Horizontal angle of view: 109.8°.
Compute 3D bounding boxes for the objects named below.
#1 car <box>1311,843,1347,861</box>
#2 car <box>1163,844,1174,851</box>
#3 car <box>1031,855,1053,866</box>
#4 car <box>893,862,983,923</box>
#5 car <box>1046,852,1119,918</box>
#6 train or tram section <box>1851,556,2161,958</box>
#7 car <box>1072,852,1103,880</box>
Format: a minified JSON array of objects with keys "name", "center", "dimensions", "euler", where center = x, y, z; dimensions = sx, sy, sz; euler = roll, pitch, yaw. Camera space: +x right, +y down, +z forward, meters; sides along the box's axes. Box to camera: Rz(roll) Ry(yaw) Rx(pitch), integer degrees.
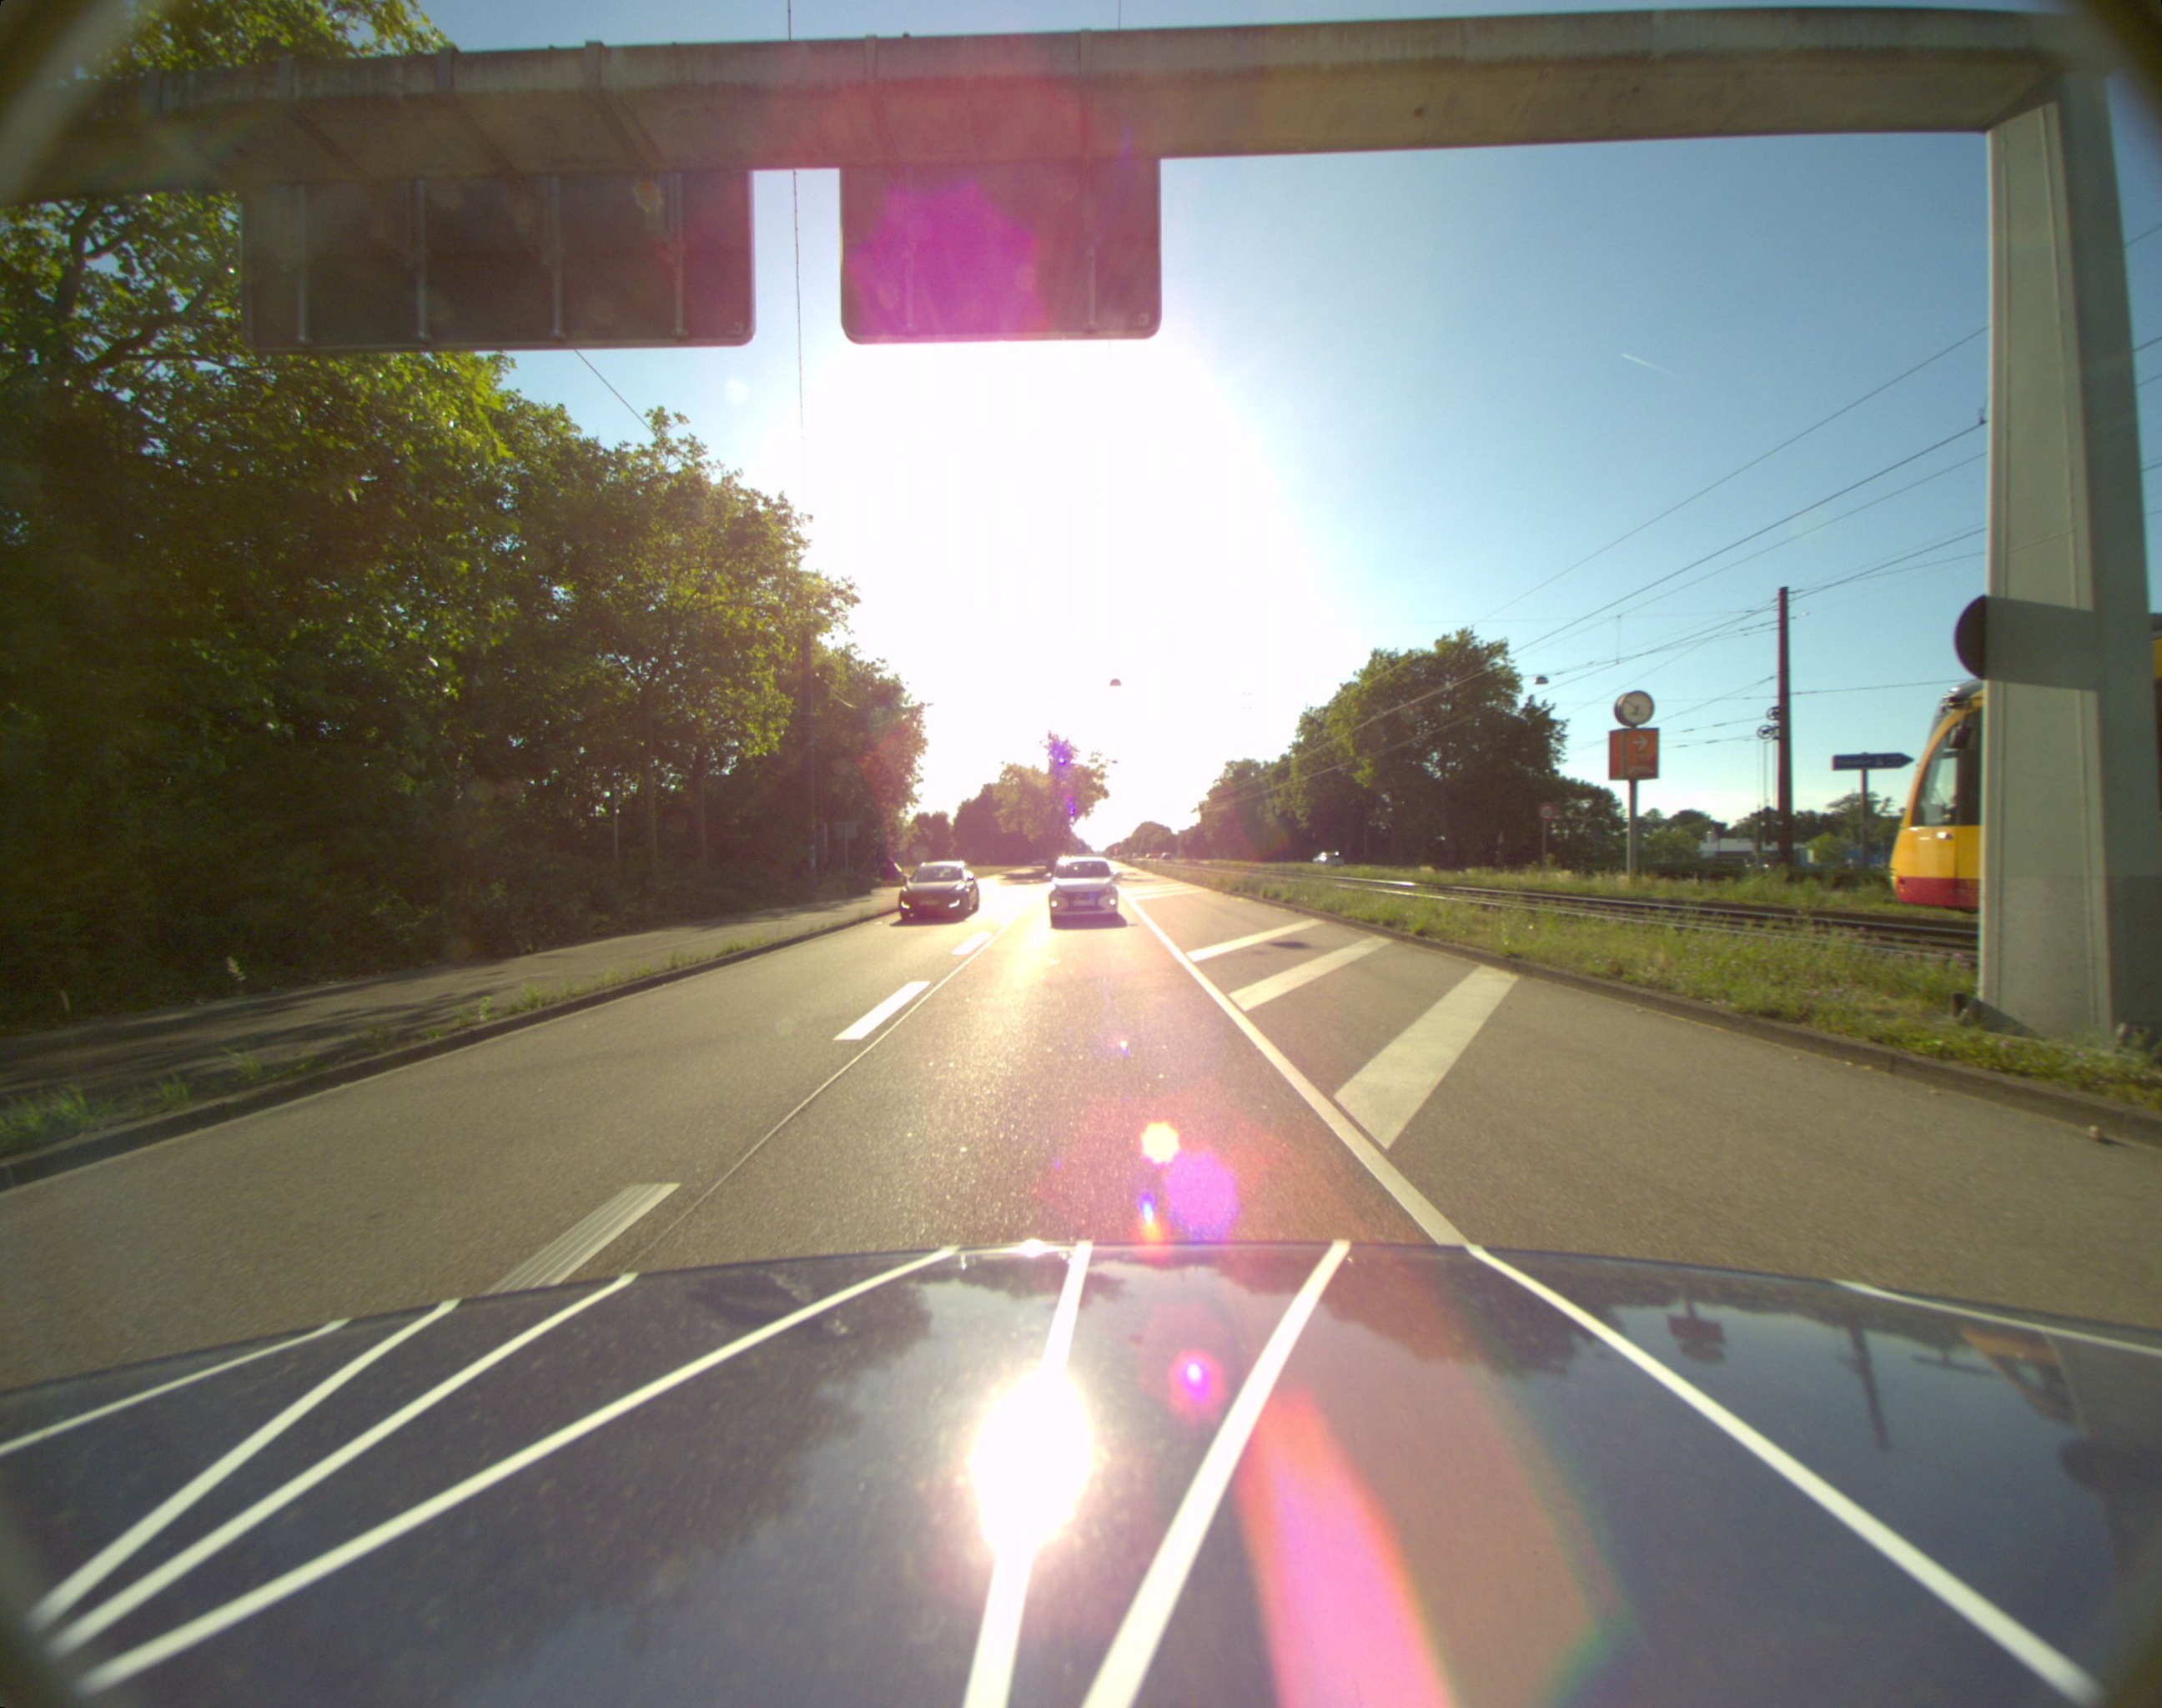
[{"name":"car","center":[23.225,-0.237,71.288],"dimensions":[1.658,1.517,4.269],"euler":[-1,3,-6]},{"name":"car","center":[20.328,-1.506,177.652],"dimensions":[1.903,1.684,4.940],"euler":[0,1,-1]},{"name":"car","center":[-7.103,1.223,137.408],"dimensions":[1.882,1.790,3.652],"euler":[-2,1,39]},{"name":"car","center":[-3.957,1.011,21.655],"dimensions":[1.797,1.432,4.222],"euler":[-3,1,-2]},{"name":"car","center":[0.079,0.756,20.588],"dimensions":[1.709,1.503,3.862],"euler":[-2,1,1]},{"name":"train or tram section","center":[11.878,-0.947,4.126],"dimensions":[2.811,3.880,12.330],"euler":[-3,1,0]},{"name":"car","center":[0.425,0.664,45.826],"dimensions":[1.709,1.512,3.844],"euler":[-2,1,1]}]
